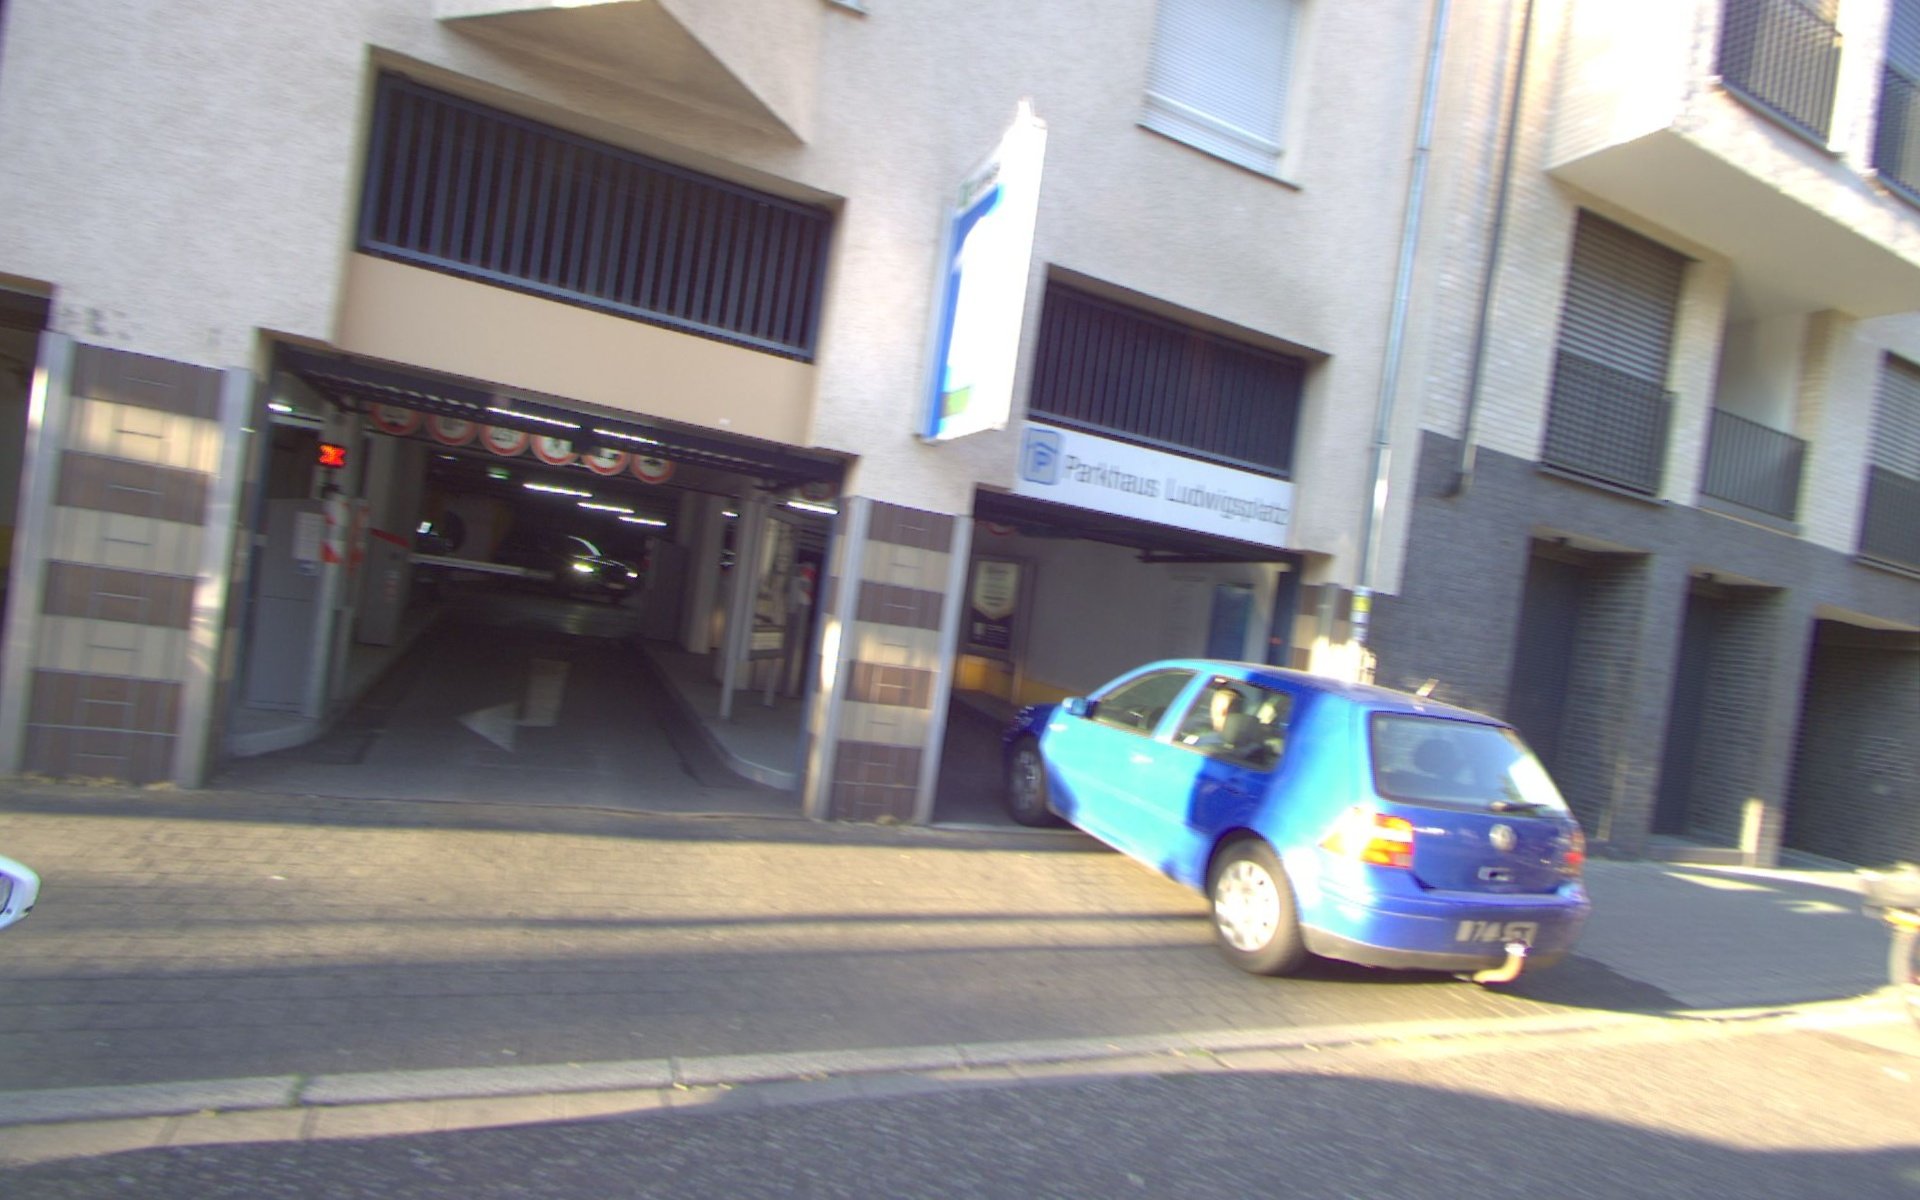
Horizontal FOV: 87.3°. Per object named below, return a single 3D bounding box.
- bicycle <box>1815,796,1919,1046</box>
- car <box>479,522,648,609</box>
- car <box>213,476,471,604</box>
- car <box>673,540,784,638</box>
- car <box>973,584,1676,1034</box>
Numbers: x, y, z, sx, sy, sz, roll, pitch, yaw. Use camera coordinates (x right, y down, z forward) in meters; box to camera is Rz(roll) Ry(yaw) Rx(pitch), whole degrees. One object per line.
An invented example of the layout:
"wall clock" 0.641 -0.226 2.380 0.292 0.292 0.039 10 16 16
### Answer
"bicycle" 5.435 1.763 5.558 1.387 1.198 0.386 8 1 -24
"car" -10.516 -0.921 26.610 4.228 1.644 1.888 9 0 32
"car" -9.908 -0.903 16.579 1.787 1.592 4.245 8 1 -6
"car" -4.927 -0.301 21.044 1.540 1.638 3.859 8 1 -21
"car" 1.725 0.948 6.317 1.672 1.583 4.094 8 2 -22
